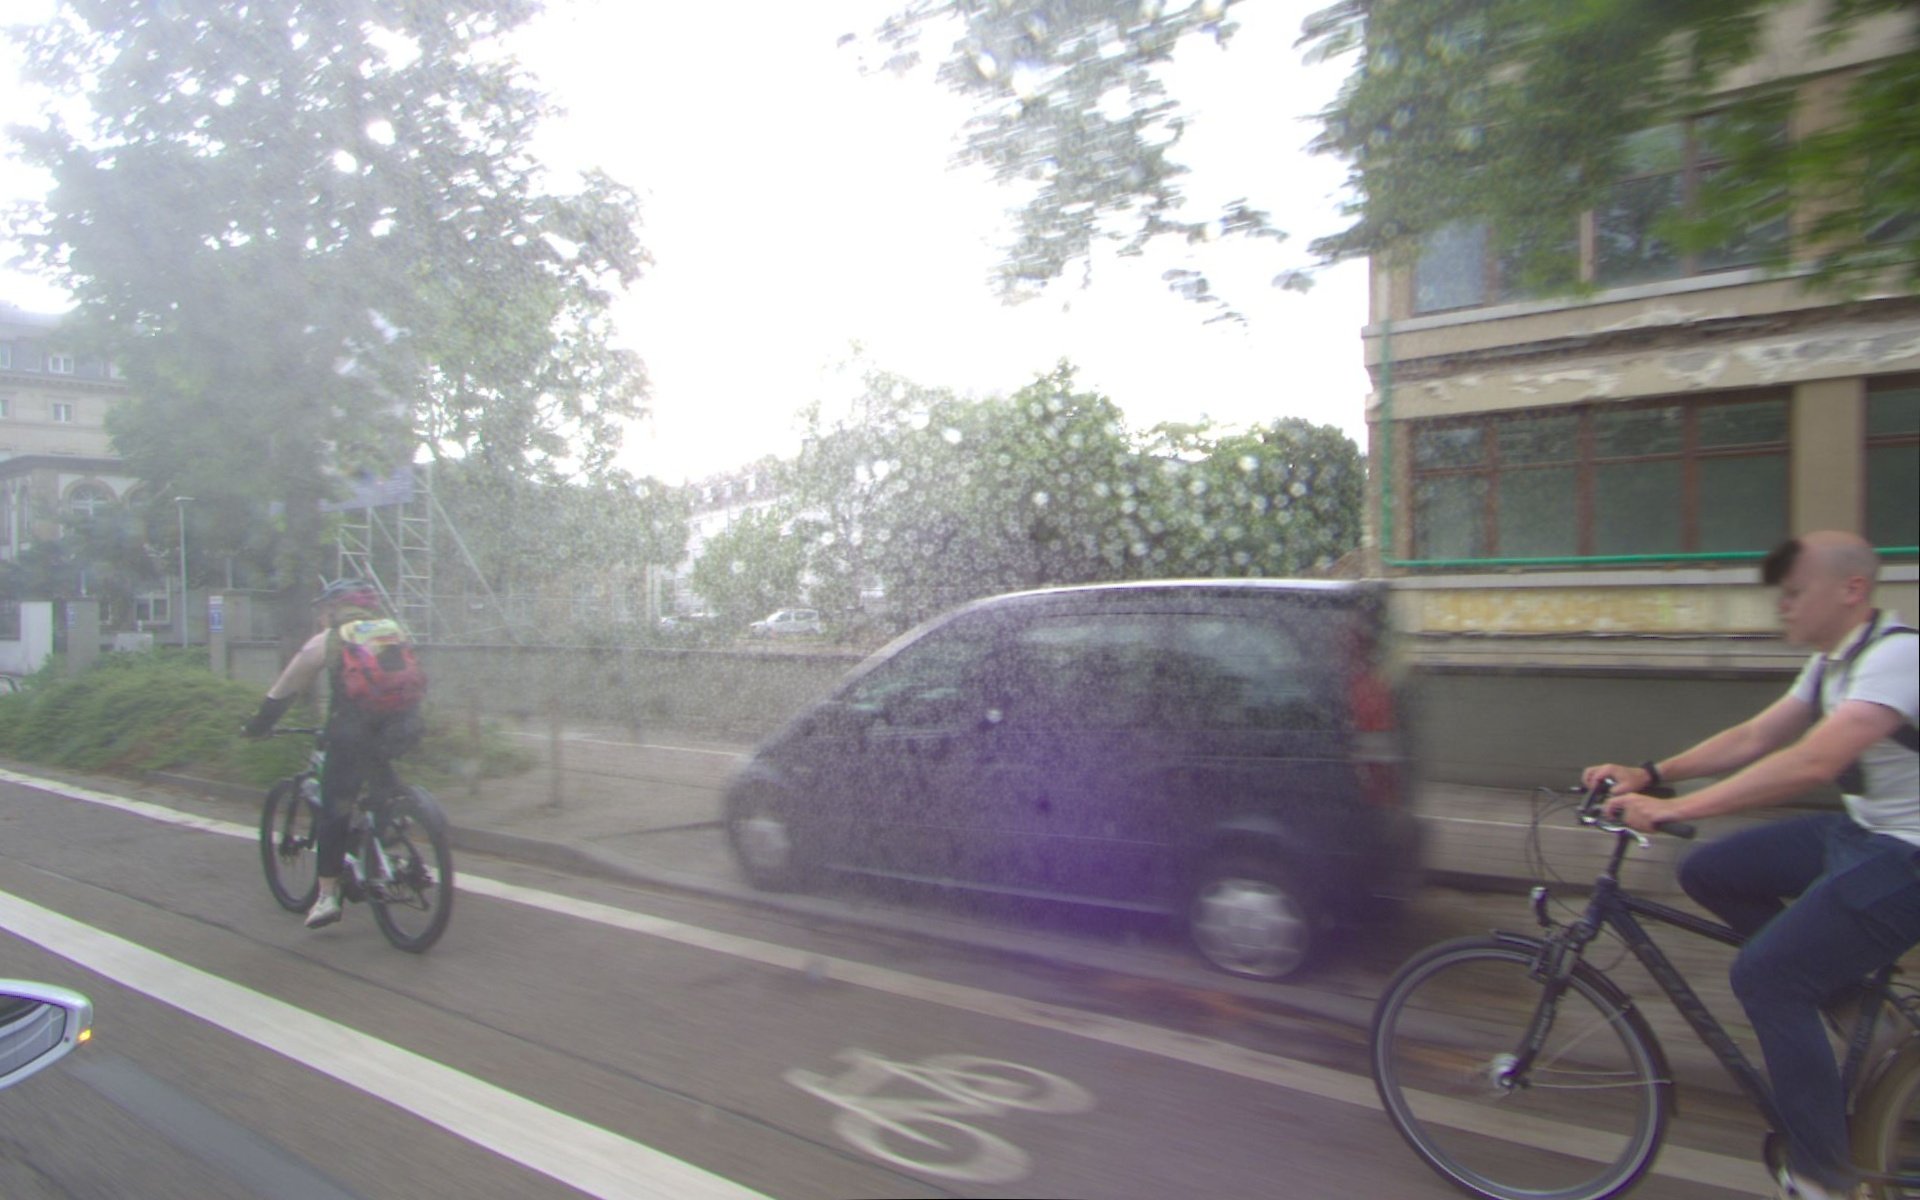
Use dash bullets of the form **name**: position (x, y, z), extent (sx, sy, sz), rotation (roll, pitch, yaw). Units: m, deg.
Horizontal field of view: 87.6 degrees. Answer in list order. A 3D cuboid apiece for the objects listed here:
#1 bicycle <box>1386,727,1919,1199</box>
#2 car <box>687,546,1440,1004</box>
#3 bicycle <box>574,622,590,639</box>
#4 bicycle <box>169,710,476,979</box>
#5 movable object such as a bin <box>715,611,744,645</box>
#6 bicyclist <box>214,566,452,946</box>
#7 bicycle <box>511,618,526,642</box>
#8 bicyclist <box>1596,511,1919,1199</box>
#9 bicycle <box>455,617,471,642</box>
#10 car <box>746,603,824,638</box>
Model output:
- **bicycle**: position (2.031, 0.941, 2.319), extent (1.839, 1.131, 0.663), rotation (0, -2, 32)
- **car**: position (0.465, 0.761, 5.781), extent (4.025, 1.835, 1.651), rotation (-1, -2, 31)
- **bicycle**: position (-19.056, 1.512, 50.473), extent (0.609, 0.824, 1.937), rotation (0, 0, -25)
- **bicycle**: position (-3.216, 1.110, 4.971), extent (2.028, 0.992, 0.488), rotation (-1, -1, 33)
- **movable object such as a bin**: position (-10.455, 1.275, 45.349), extent (1.038, 1.470, 1.350), rotation (0, 1, -23)
- **bicyclist**: position (-3.020, 0.680, 4.832), extent (0.907, 1.631, 0.656), rotation (0, 0, 33)
- **bicycle**: position (-21.630, 1.440, 49.049), extent (0.609, 1.134, 2.213), rotation (0, 0, -25)
- **bicyclist**: position (2.056, 0.626, 2.311), extent (0.971, 1.590, 0.661), rotation (0, -1, 31)
- **bicycle**: position (-23.651, 1.404, 47.707), extent (0.609, 1.134, 2.213), rotation (0, 0, -25)
- **car**: position (-10.462, 1.228, 59.991), extent (4.297, 2.039, 1.842), rotation (1, -2, -36)
